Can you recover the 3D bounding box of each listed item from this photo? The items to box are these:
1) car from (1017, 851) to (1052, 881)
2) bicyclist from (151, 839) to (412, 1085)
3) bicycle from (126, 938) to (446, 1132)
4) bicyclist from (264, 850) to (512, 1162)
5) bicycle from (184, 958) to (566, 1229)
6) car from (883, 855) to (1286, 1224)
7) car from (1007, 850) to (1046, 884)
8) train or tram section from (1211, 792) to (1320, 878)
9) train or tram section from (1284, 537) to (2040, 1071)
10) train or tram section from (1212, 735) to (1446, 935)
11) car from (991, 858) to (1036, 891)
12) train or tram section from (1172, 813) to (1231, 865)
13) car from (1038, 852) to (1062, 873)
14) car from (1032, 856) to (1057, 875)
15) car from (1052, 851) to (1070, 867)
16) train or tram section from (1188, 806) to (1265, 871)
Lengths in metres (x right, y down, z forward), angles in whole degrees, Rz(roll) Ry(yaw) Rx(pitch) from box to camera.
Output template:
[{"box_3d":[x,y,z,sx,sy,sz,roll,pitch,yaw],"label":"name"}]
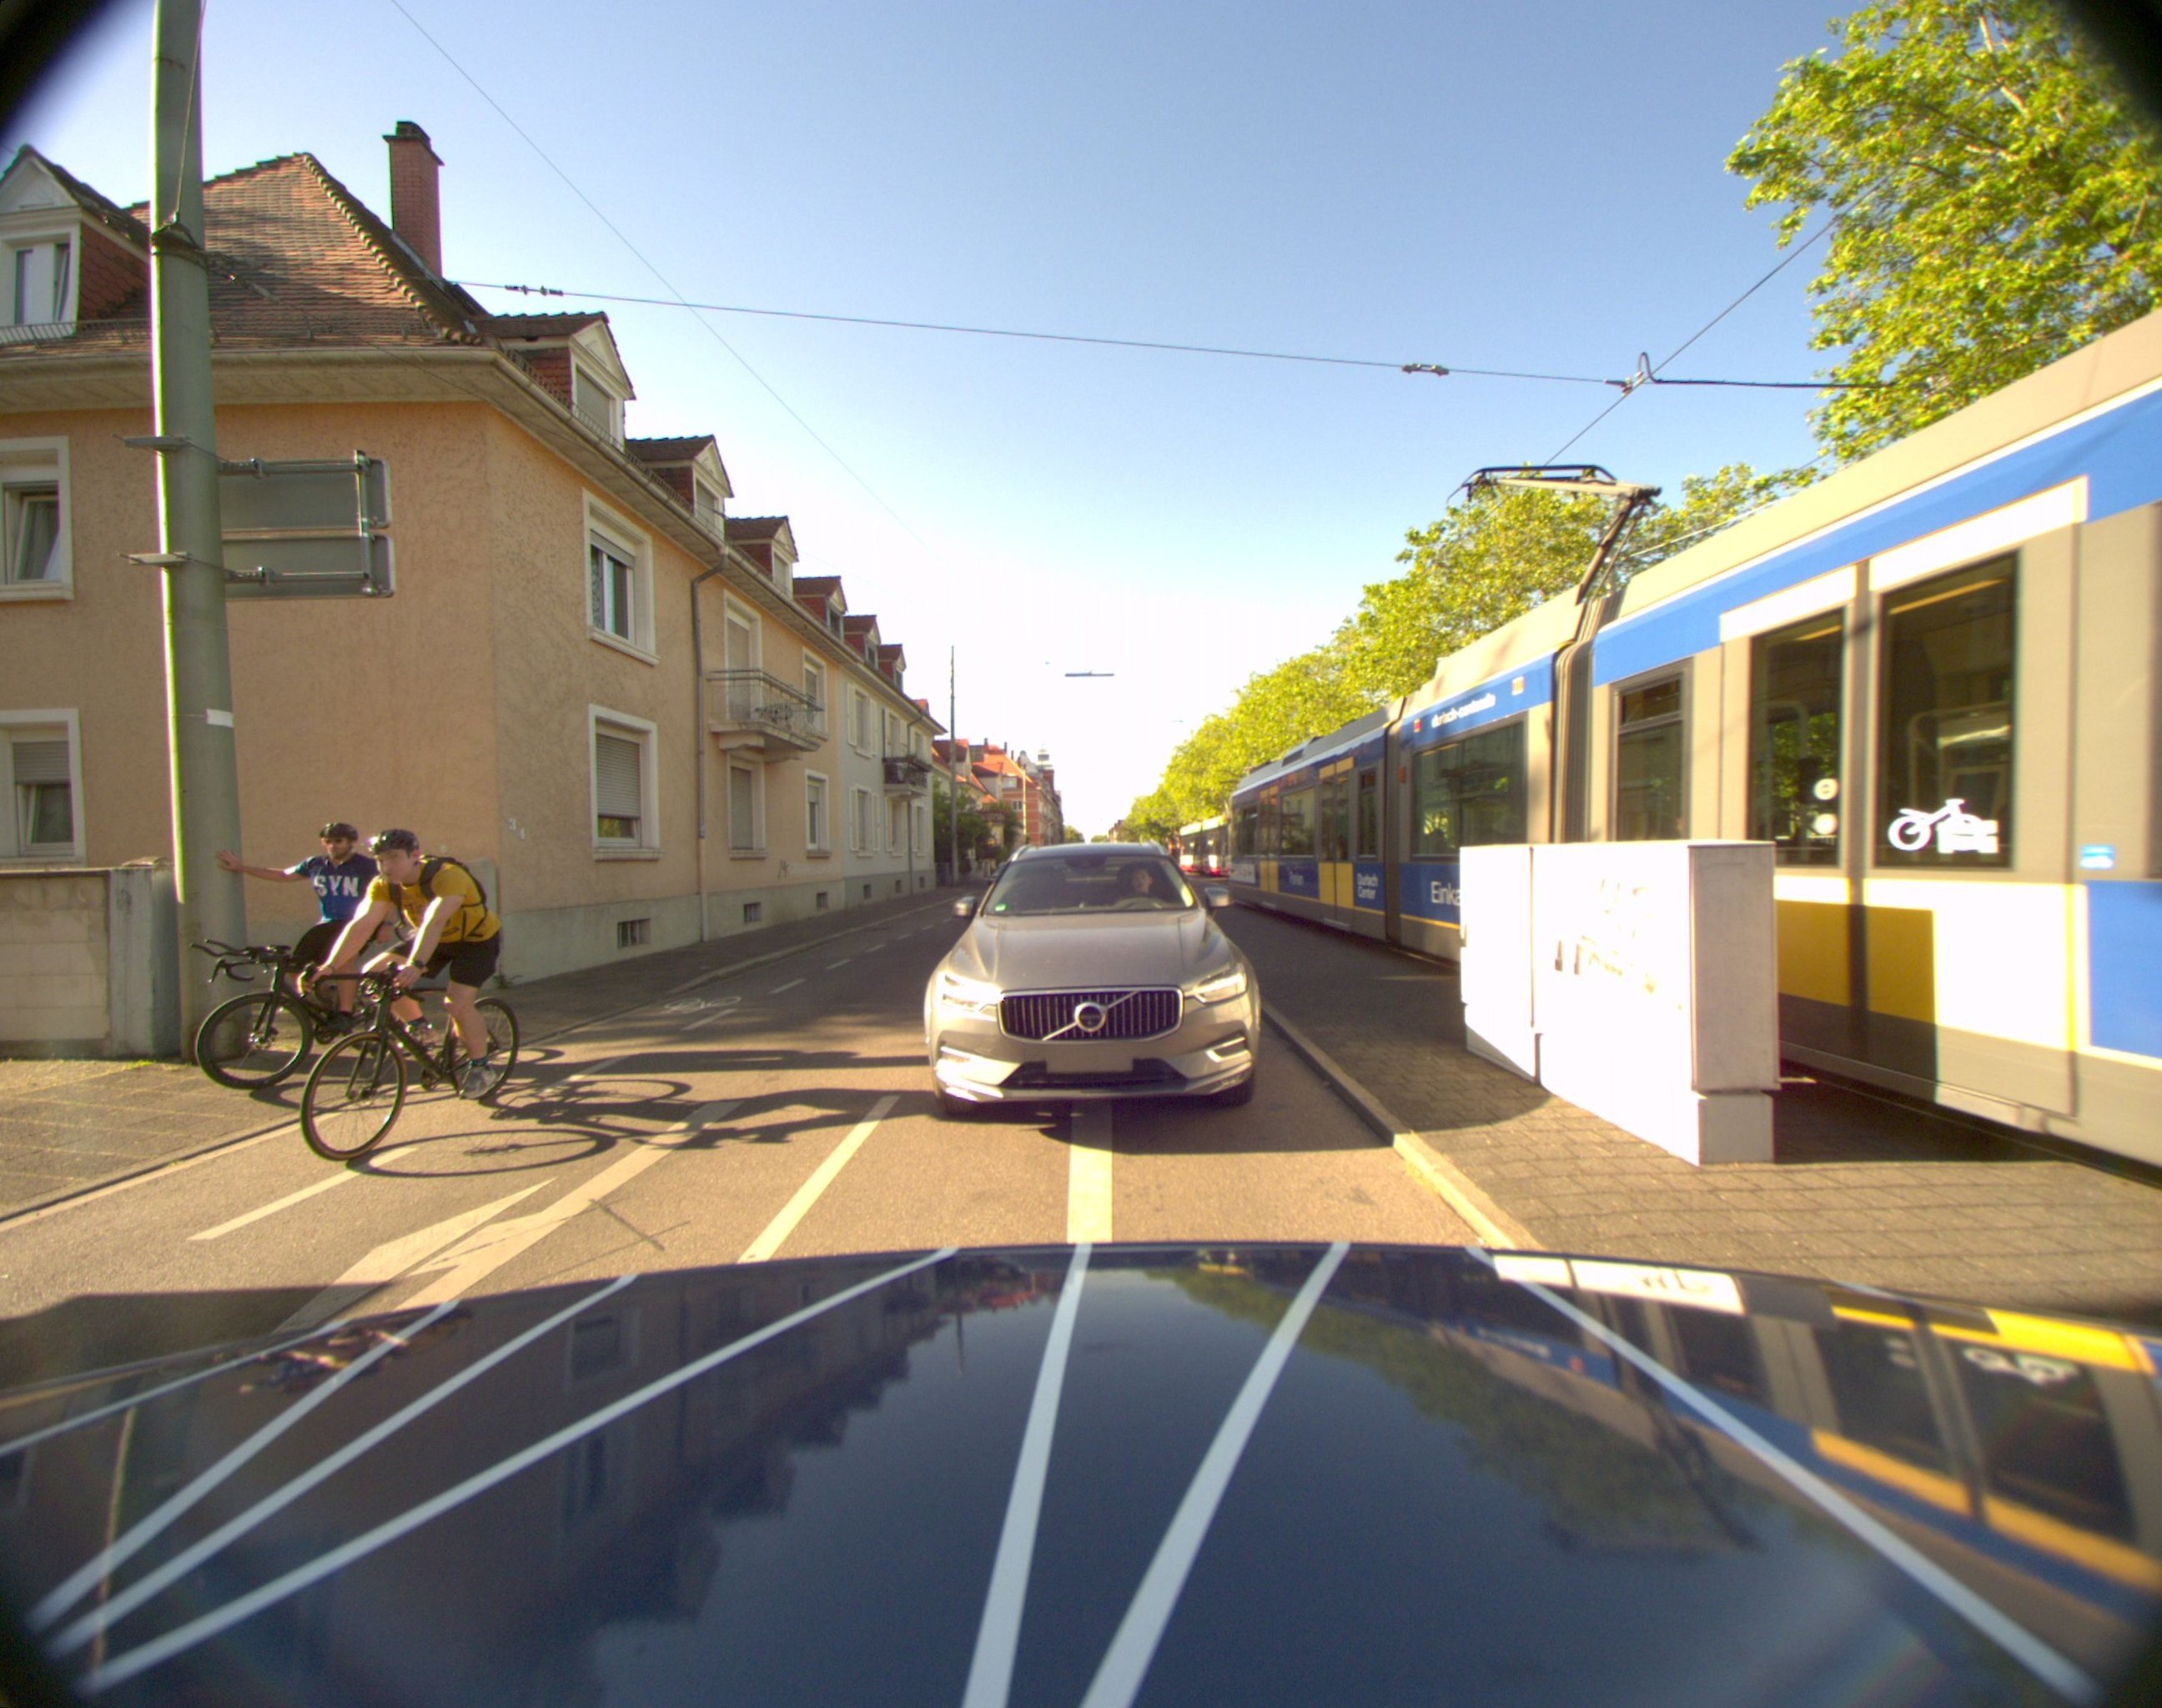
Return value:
[{"box_3d":[-2.810,0.706,46.732,1.847,1.681,4.000,-1,0,0],"label":"car"},{"box_3d":[-6.178,0.780,5.938,1.071,1.728,0.852,4,1,1],"label":"bicyclist"},{"box_3d":[-5.936,1.282,5.842,0.594,1.045,1.719,4,1,1],"label":"bicycle"},{"box_3d":[-4.165,0.835,4.655,0.582,1.712,0.955,-1,1,1],"label":"bicyclist"},{"box_3d":[-4.113,1.314,4.674,0.611,1.081,1.809,-1,1,1],"label":"bicycle"},{"box_3d":[-0.002,0.890,5.788,1.892,1.695,4.318,-1,0,-1],"label":"car"},{"box_3d":[-2.969,0.690,42.314,1.847,1.742,4.144,-1,0,0],"label":"car"},{"box_3d":[8.492,-0.837,36.497,2.843,3.456,10.182,-2,1,1],"label":"train or tram section"},{"box_3d":[4.988,-0.326,9.275,2.821,3.479,8.462,-1,0,1],"label":"train or tram section"},{"box_3d":[5.087,-0.332,17.444,2.821,3.479,7.962,-1,0,1],"label":"train or tram section"},{"box_3d":[-3.234,0.951,36.977,1.847,1.412,3.999,-1,0,-1],"label":"car"},{"box_3d":[8.829,-1.078,56.913,2.843,3.456,10.182,-2,1,1],"label":"train or tram section"},{"box_3d":[-2.681,0.700,65.770,1.847,1.681,4.000,-1,0,0],"label":"car"},{"box_3d":[-2.885,0.866,60.407,1.808,1.402,3.999,-1,0,-1],"label":"car"},{"box_3d":[-2.251,0.557,85.485,1.999,1.641,4.658,-1,0,-1],"label":"car"},{"box_3d":[8.682,-0.898,46.743,2.843,3.456,10.182,-2,1,1],"label":"train or tram section"}]
